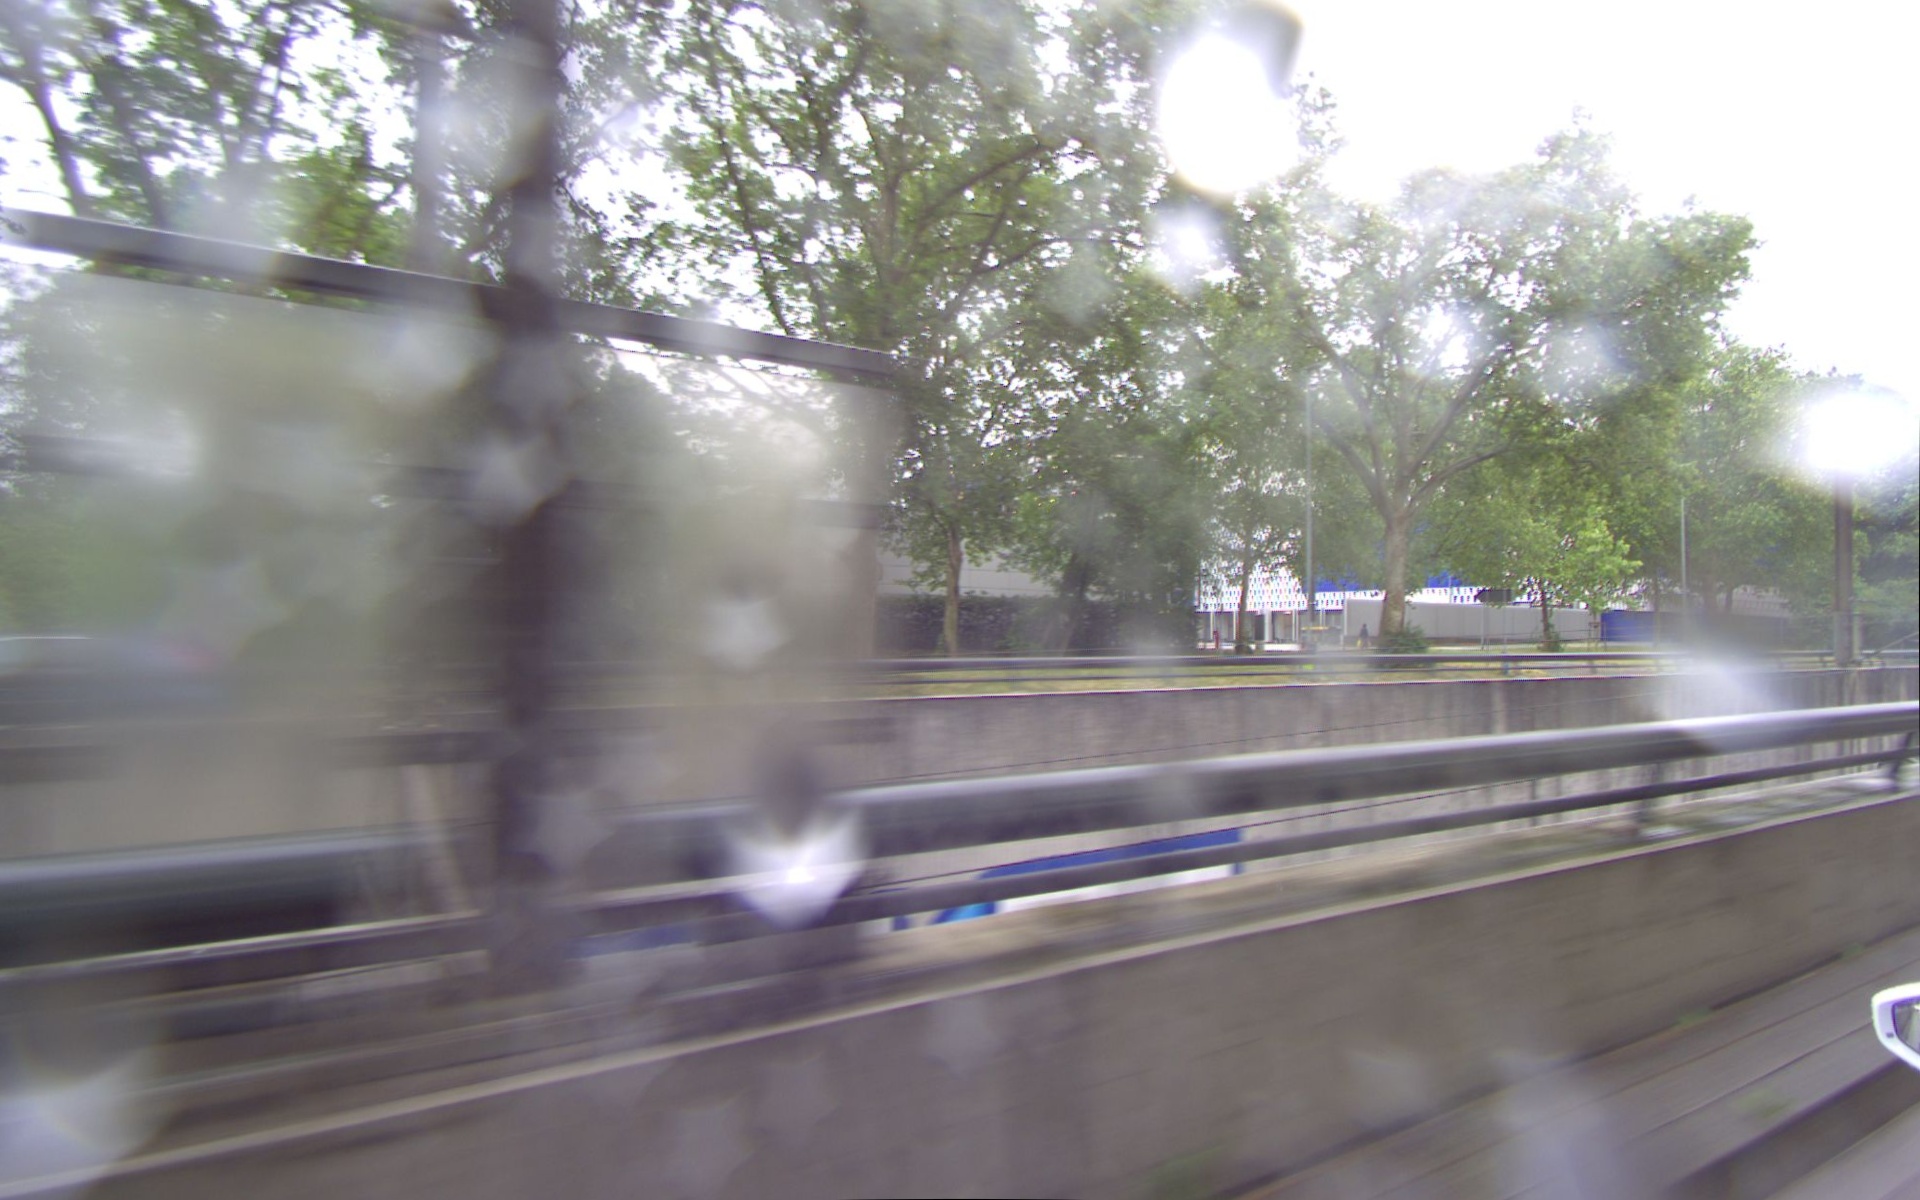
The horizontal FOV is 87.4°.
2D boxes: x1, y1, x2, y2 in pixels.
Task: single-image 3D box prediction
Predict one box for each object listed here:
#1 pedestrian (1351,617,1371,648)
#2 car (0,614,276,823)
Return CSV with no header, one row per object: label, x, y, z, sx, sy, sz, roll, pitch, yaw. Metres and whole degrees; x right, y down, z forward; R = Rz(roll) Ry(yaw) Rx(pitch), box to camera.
pedestrian,27.134,2.180,67.984,0.780,2.040,0.997,1,0,-28
car,-10.211,1.202,10.870,4.458,2.040,1.983,1,0,-31
